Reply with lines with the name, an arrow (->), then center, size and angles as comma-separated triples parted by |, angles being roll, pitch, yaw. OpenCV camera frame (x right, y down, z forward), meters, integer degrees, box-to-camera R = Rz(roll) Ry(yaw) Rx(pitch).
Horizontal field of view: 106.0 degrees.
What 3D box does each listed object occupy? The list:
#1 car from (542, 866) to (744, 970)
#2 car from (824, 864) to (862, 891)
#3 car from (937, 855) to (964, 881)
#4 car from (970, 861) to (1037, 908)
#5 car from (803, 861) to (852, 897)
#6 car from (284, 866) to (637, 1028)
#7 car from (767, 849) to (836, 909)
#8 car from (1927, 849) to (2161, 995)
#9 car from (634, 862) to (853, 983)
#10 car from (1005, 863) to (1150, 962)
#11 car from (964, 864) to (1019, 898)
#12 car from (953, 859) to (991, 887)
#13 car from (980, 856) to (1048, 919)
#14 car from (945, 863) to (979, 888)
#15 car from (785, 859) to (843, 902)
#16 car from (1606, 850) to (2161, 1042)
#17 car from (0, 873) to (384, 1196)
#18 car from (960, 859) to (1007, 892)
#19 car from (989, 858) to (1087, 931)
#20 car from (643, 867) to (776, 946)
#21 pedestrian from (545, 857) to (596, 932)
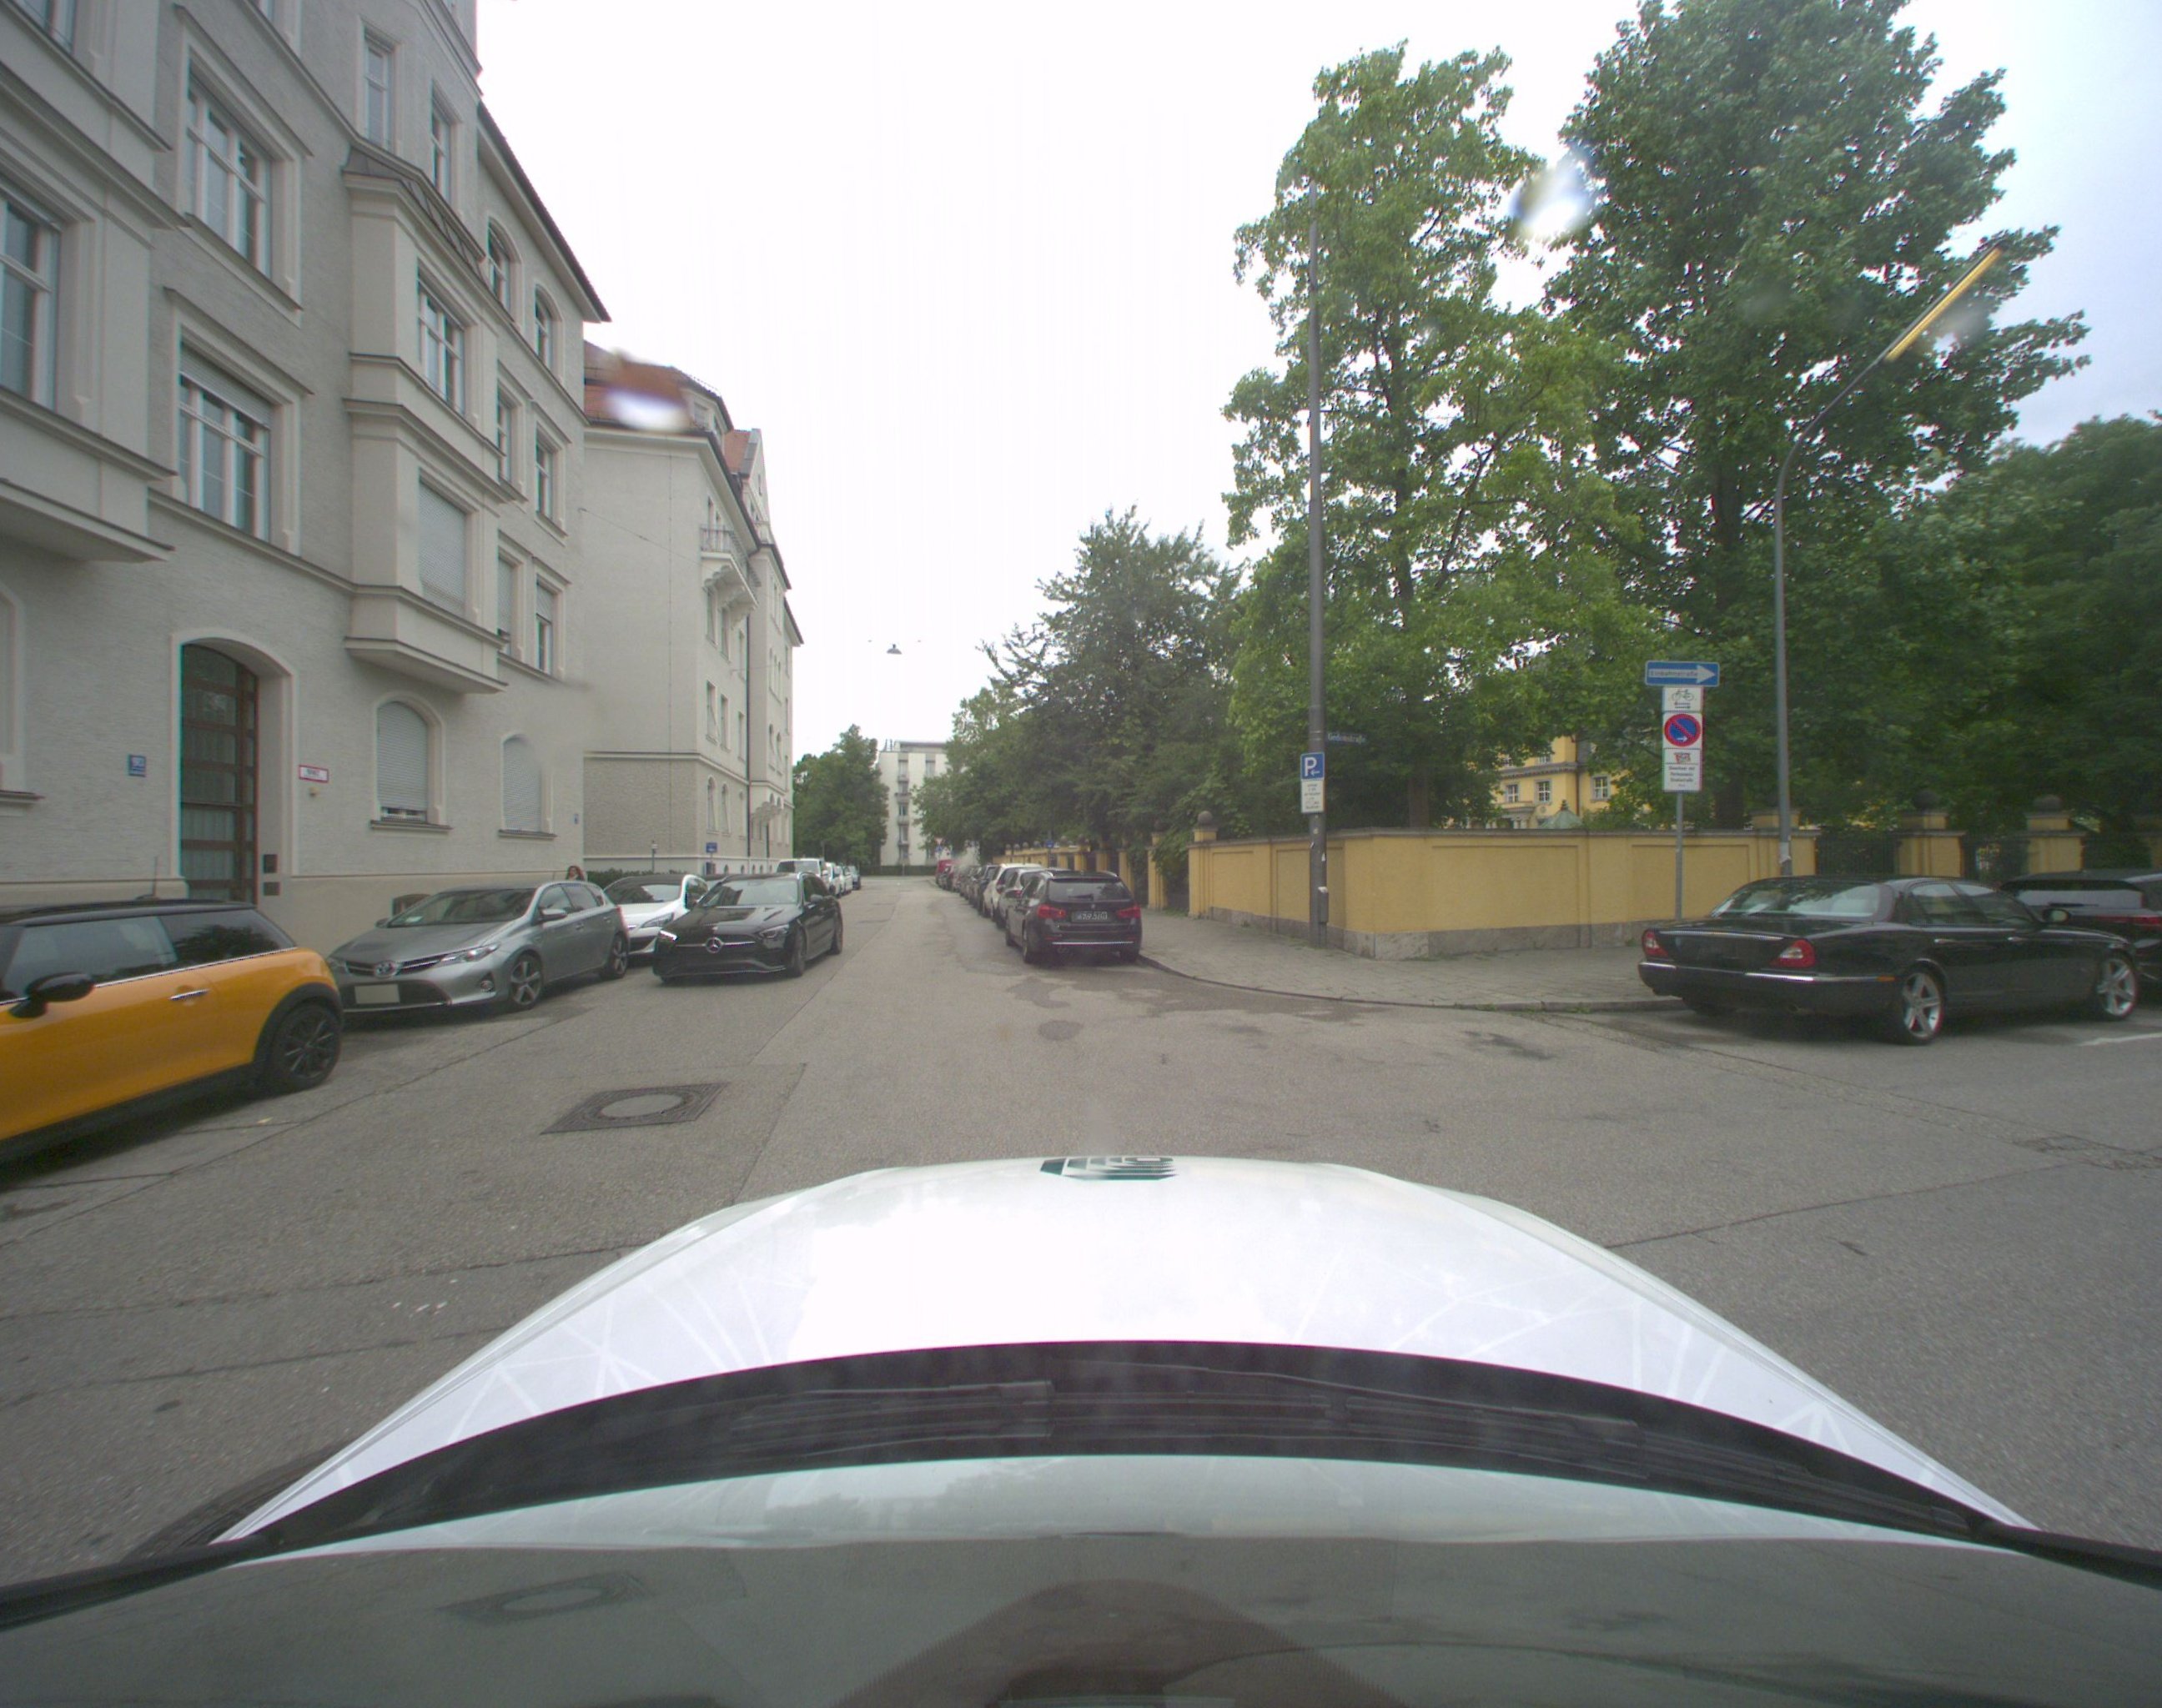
car -> -7.695, 1.029, 14.828 | 1.836, 1.438, 4.261 | -4, 0, -9
car -> -16.279, 1.562, 55.967 | 2.016, 1.634, 4.396 | -4, 0, -11
car -> -10.083, 1.054, 63.192 | 1.835, 1.927, 3.994 | 2, 0, -7
car -> -2.800, 1.036, 28.784 | 1.840, 1.551, 3.929 | 0, -1, -13
car -> -13.801, 1.331, 44.546 | 2.016, 1.726, 4.257 | -4, 0, -11
car -> -7.150, 0.935, 9.972 | 1.725, 1.499, 3.918 | -2, -1, -9
car -> -11.205, 0.945, 32.941 | 1.887, 2.127, 4.688 | -4, 0, -11
car -> 13.033, 0.688, 9.836 | 4.601, 1.482, 1.912 | -1, -1, -15
car -> -4.815, 0.871, 12.363 | 1.872, 1.428, 4.398 | -2, 0, -7
car -> -0.237, 0.888, 13.935 | 1.838, 1.413, 4.328 | 0, -1, -9
car -> -3.795, 1.092, 34.079 | 1.840, 1.346, 3.929 | 0, -1, -13
car -> -6.399, 1.106, 47.651 | 1.840, 1.519, 3.929 | 0, -1, -13
car -> -2.011, 0.924, 23.505 | 1.515, 1.661, 3.659 | 0, -1, -12
car -> -7.585, 1.340, 51.565 | 1.840, 1.519, 3.929 | 0, -1, -13
car -> -12.672, 1.208, 38.874 | 2.016, 1.771, 4.396 | -4, 0, -11
car -> 7.955, 0.738, 8.096 | 4.924, 1.482, 1.855 | -1, -1, -17
car -> -6.132, 0.950, 4.405 | 1.640, 1.499, 3.960 | -4, 0, -8
car -> -4.697, 1.022, 38.900 | 1.840, 1.519, 3.929 | 0, -1, -13
car -> -1.099, 0.876, 18.880 | 1.654, 1.519, 3.777 | 0, -1, -13
car -> -8.727, 1.150, 19.518 | 1.837, 1.499, 4.258 | -4, 0, -11
pedestrian -> -11.691, 0.916, 18.678 | 0.793, 1.679, 0.697 | 0, -1, -12
